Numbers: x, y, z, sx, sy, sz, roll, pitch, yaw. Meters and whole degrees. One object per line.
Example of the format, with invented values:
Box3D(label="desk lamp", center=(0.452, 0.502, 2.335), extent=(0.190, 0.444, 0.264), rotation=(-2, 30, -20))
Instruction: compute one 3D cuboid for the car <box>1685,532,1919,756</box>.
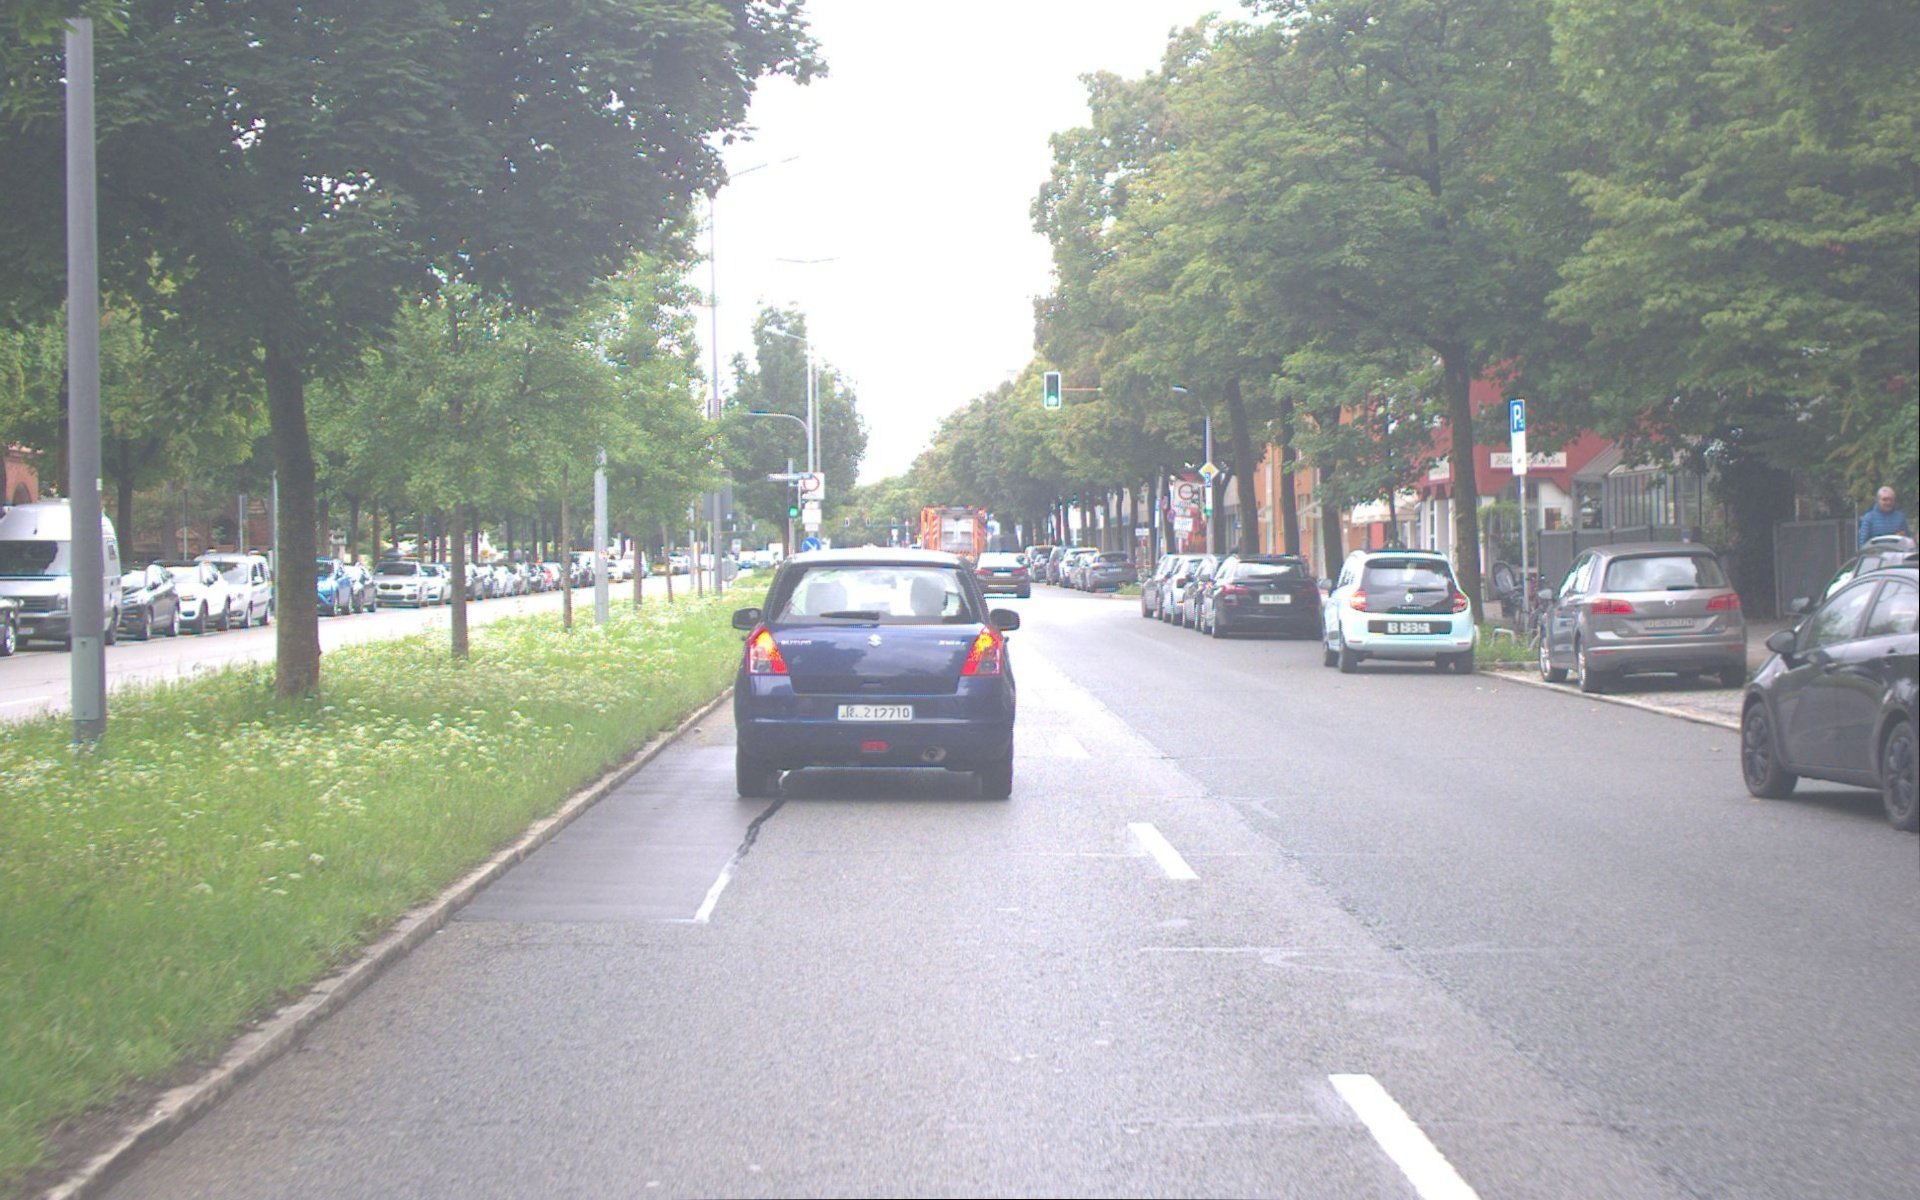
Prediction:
Box3D(label="car", center=(7.283, 0.282, 27.530), extent=(1.993, 1.637, 4.333), rotation=(-1, 1, -1))

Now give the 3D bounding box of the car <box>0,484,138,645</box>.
Box3D(label="car", center=(-17.527, -0.705, 66.334), extent=(2.185, 2.943, 6.193), rotation=(0, 1, -3))

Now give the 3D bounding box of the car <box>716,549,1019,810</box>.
Box3D(label="car", center=(-0.541, 0.433, 21.984), extent=(1.753, 1.499, 4.000), rotation=(0, 1, 0))

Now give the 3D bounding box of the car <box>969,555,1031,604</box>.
Box3D(label="car", center=(1.264, -0.680, 110.115), extent=(1.821, 1.472, 4.691), rotation=(1, 1, -1))

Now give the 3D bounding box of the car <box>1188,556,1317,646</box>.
Box3D(label="car", center=(5.084, -0.016, 60.261), extent=(1.653, 1.447, 4.709), rotation=(-1, 1, -2))

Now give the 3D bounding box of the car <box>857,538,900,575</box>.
Box3D(label="car", center=(-3.321, -1.775, 140.623), extent=(1.718, 1.495, 4.301), rotation=(0, 1, -1))

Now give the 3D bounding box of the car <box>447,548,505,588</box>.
Box3D(label="car", center=(-19.508, -1.300, 138.705), extent=(1.801, 1.529, 4.000), rotation=(-1, 1, -1))

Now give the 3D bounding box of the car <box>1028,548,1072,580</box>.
Box3D(label="car", center=(4.386, -1.760, 168.000), extent=(1.993, 1.525, 4.000), rotation=(-1, 1, -1))

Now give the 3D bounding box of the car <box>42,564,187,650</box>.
Box3D(label="car", center=(-17.884, 0.115, 72.903), extent=(2.185, 1.730, 4.579), rotation=(0, 1, -3))

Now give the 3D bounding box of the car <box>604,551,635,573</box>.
Box3D(label="car", center=(-24.332, -2.696, 245.722), extent=(1.801, 1.529, 4.000), rotation=(-1, 1, -1))

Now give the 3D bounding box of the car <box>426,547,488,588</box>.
Box3D(label="car", center=(-19.205, -1.238, 131.411), extent=(1.801, 1.529, 4.000), rotation=(1, 0, -1))

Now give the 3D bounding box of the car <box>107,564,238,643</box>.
Box3D(label="car", center=(-17.930, 0.060, 78.508), extent=(2.185, 1.730, 4.579), rotation=(0, 1, -3))

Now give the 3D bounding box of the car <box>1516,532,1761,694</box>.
Box3D(label="car", center=(7.420, 0.094, 37.992), extent=(1.815, 1.620, 4.308), rotation=(-2, 1, 0))

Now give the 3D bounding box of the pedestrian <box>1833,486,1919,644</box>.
Box3D(label="pedestrian", center=(11.014, -0.424, 41.205), extent=(0.792, 1.849, 0.777), rotation=(-2, 1, -3))

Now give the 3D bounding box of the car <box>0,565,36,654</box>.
Box3D(label="car", center=(-17.593, 0.160, 59.941), extent=(1.813, 1.531, 4.820), rotation=(0, 1, -2))

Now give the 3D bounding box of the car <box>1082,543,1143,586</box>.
Box3D(label="car", center=(5.608, -1.332, 126.740), extent=(1.993, 1.525, 4.000), rotation=(-1, 1, -1))

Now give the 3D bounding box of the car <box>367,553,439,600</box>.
Box3D(label="car", center=(-18.666, -0.803, 115.307), extent=(1.801, 1.529, 4.000), rotation=(-1, 1, -1))

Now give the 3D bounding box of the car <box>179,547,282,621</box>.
Box3D(label="car", center=(-17.834, -0.417, 84.190), extent=(1.706, 1.728, 4.000), rotation=(-1, 1, -1))

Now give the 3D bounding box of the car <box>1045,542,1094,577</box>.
Box3D(label="car", center=(4.946, -1.846, 155.559), extent=(1.993, 1.525, 4.000), rotation=(-1, 1, -1))

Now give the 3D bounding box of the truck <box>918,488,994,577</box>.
Box3D(label="truck", center=(-0.153, -2.828, 144.165), extent=(3.041, 3.545, 13.675), rotation=(0, 1, 0))

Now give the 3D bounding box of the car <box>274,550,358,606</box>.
Box3D(label="car", center=(-18.362, -0.646, 98.164), extent=(1.706, 1.529, 4.000), rotation=(-1, 1, -1))

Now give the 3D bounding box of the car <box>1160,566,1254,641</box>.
Box3D(label="car", center=(5.075, 0.045, 70.939), extent=(1.695, 1.447, 4.123), rotation=(-1, 1, 1))

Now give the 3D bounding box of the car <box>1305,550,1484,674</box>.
Box3D(label="car", center=(5.513, 0.119, 44.015), extent=(1.653, 1.447, 4.000), rotation=(-1, 1, -1))

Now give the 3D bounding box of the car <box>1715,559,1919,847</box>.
Box3D(label="car", center=(5.829, 0.500, 19.645), extent=(1.993, 1.447, 4.001), rotation=(-1, 1, -2))

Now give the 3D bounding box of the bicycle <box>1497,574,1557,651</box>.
Box3D(label="bicycle", center=(7.388, 0.150, 44.834), extent=(0.448, 0.977, 1.799), rotation=(0, 1, -1))

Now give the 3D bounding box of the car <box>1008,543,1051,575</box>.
Box3D(label="car", center=(3.470, -2.066, 172.884), extent=(1.993, 1.525, 4.000), rotation=(1, 1, -1))
